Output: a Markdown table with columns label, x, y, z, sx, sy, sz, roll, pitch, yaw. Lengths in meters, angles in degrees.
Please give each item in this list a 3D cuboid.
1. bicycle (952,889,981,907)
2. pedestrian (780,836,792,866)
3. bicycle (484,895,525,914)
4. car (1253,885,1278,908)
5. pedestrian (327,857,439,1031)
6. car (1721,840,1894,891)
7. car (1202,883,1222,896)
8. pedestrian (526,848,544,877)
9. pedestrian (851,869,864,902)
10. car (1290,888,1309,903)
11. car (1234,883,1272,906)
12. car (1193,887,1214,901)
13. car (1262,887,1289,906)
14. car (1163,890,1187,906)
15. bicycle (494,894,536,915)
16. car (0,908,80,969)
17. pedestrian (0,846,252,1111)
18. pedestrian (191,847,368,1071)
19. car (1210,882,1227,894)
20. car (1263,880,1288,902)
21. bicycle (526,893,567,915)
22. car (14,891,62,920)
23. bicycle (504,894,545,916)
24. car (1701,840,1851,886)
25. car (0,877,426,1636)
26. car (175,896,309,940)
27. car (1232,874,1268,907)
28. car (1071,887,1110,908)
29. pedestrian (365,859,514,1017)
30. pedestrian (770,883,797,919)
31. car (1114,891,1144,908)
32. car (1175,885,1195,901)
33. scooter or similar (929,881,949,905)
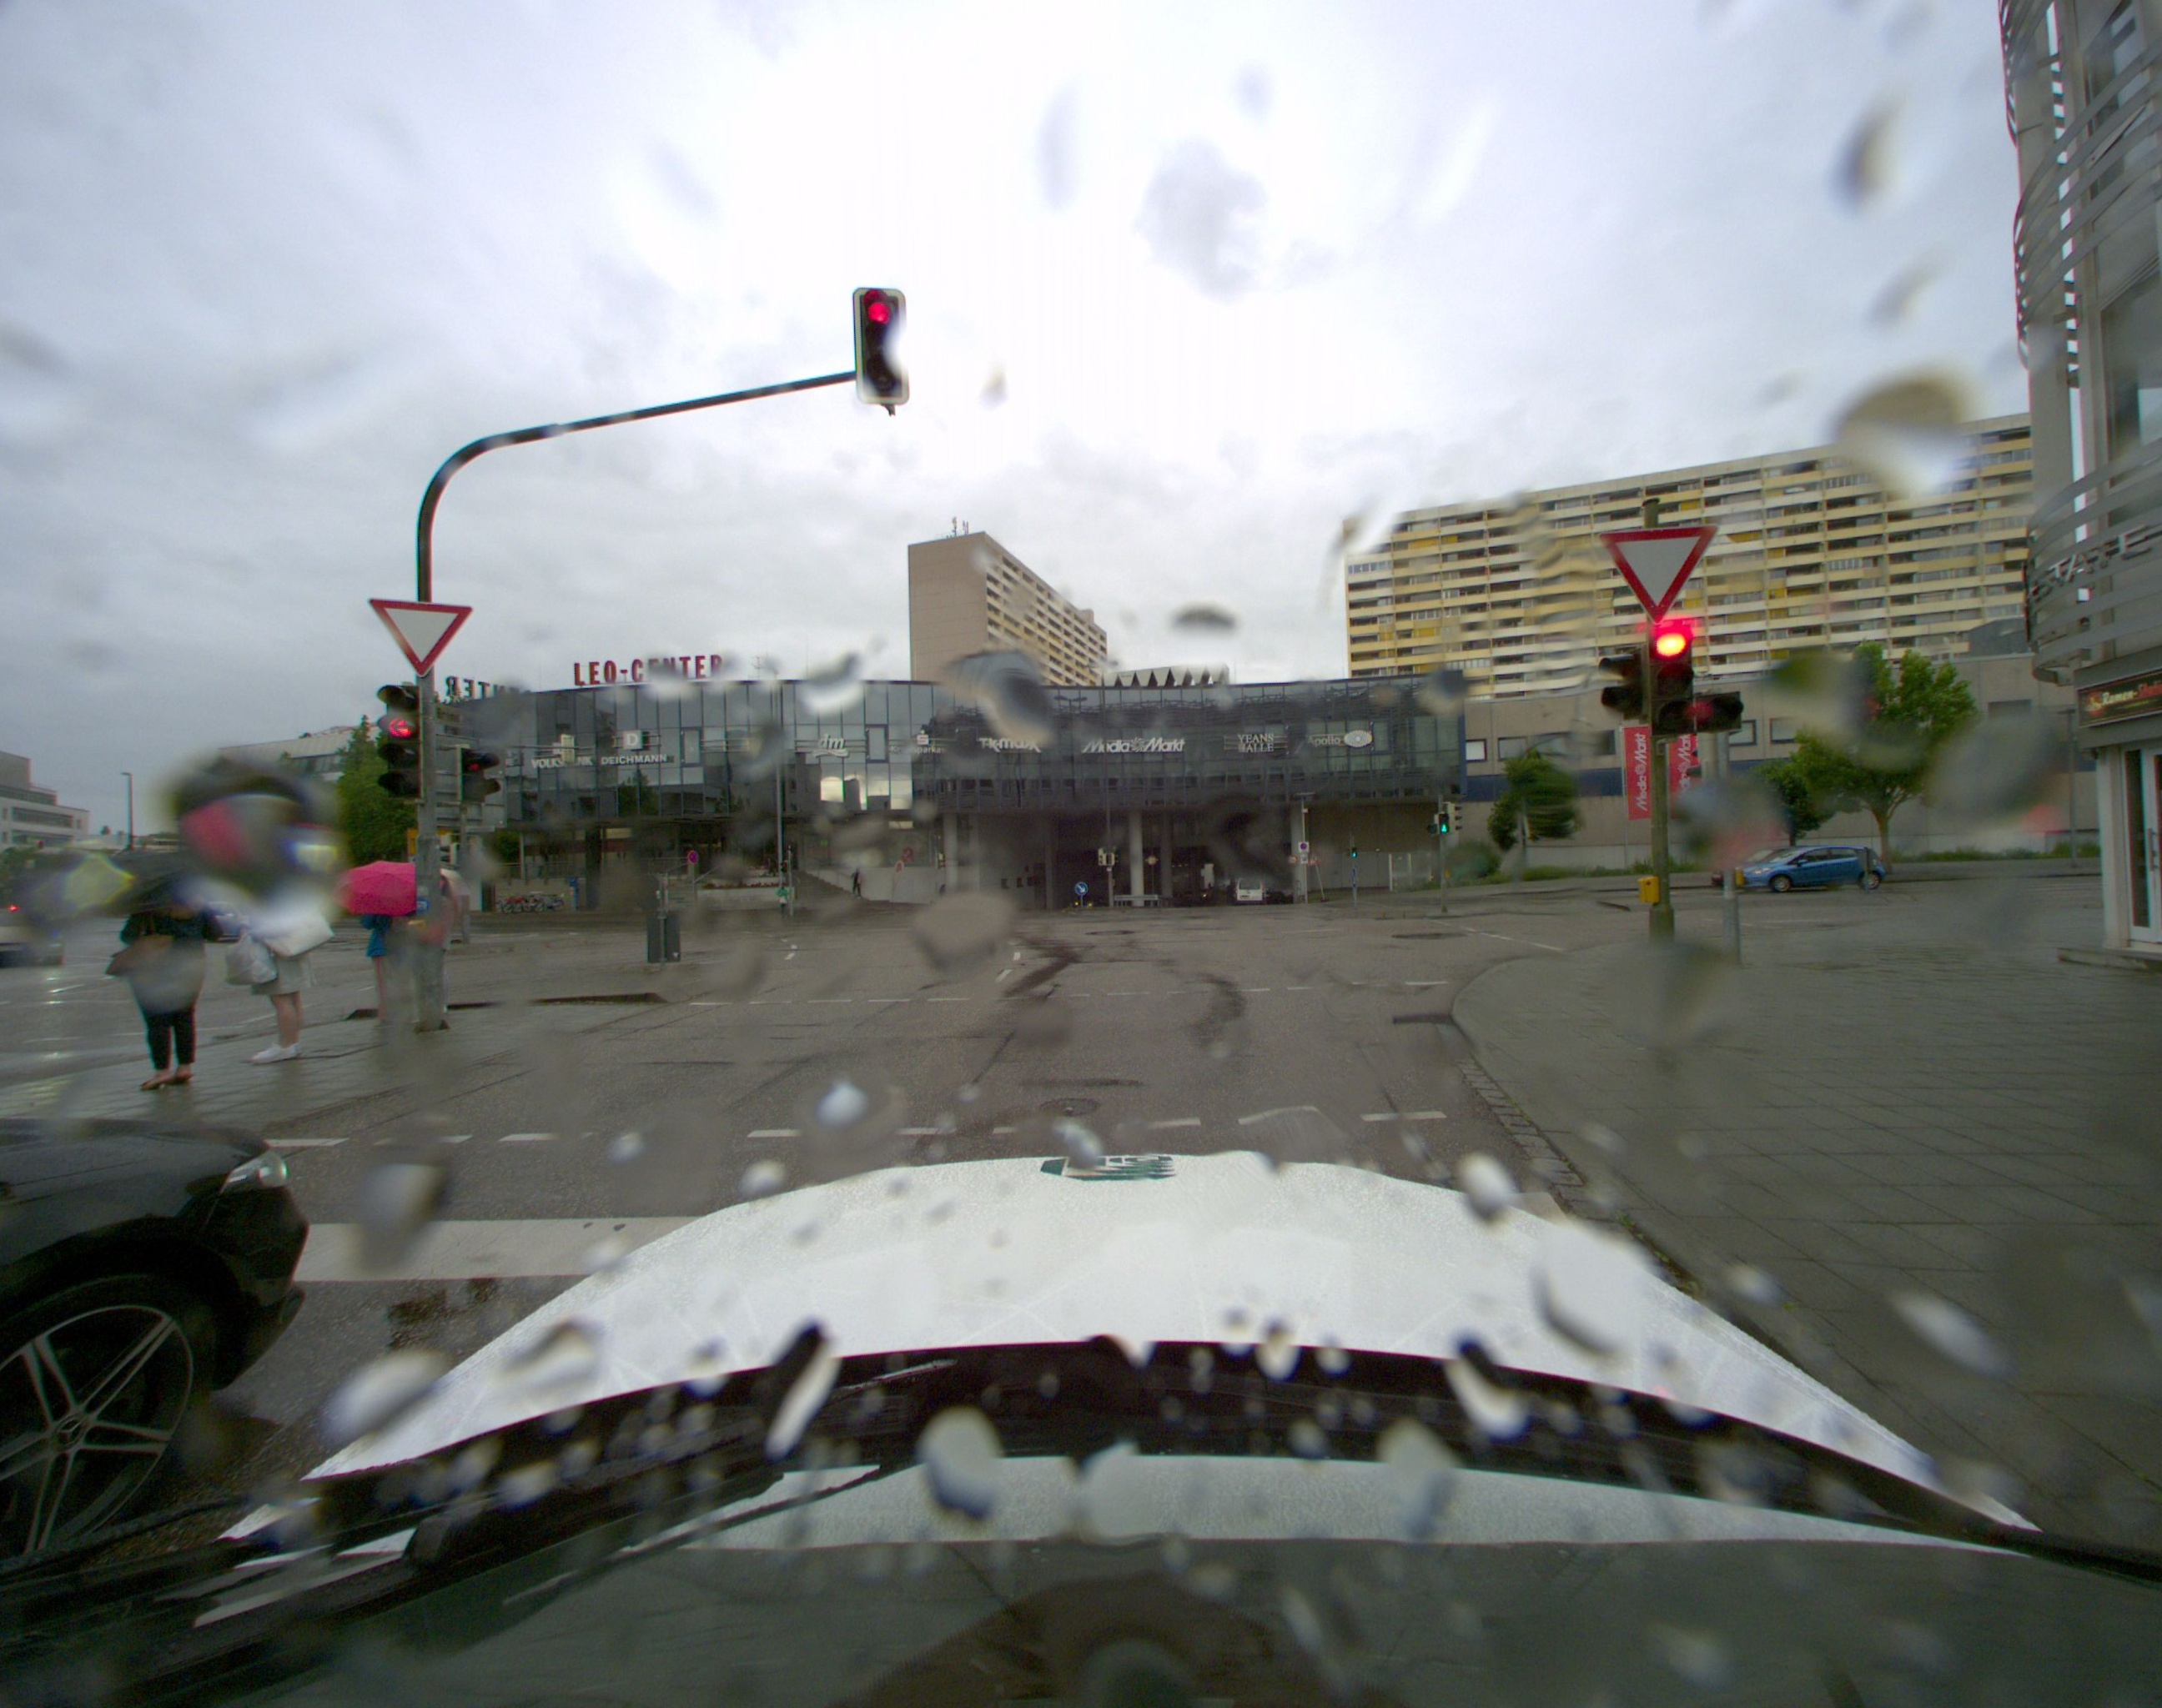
| label | x | y | z | sx | sy | sz | roll | pitch | yaw |
| --- | --- | --- | --- | --- | --- | --- | --- | --- | --- |
| bicycle | -6.878 | 2.649 | 49.005 | 1.591 | 1.018 | 0.448 | 5 | -3 | -29 |
| pedestrian | -17.759 | -0.153 | 49.088 | 0.633 | 1.807 | 0.501 | 0 | -1 | -16 |
| bicycle | -33.076 | 2.888 | 46.770 | 0.529 | 0.951 | 1.865 | -1 | 2 | 23 |
| car | 13.832 | 3.173 | 60.841 | 1.621 | 1.612 | 4.278 | -3 | -4 | 14 |
| pedestrian | -7.259 | 0.894 | 8.474 | 0.665 | 1.685 | 0.811 | -4 | -2 | 45 |
| car | 23.417 | 0.383 | 26.395 | 3.819 | 1.397 | 1.684 | -3 | -2 | 10 |
| car | 17.600 | 4.759 | 109.219 | 1.978 | 1.464 | 4.018 | -3 | -2 | 17 |
| pedestrian | -32.428 | 0.511 | 48.396 | 0.592 | 1.714 | 0.658 | -1 | -1 | 25 |
| pedestrian | -13.030 | 1.807 | 47.507 | 0.655 | 1.908 | 0.593 | -1 | -1 | -6 |
| car | 24.279 | 4.566 | 90.430 | 1.874 | 1.491 | 3.856 | -1 | -1 | 16 |
| car | 11.875 | 2.835 | 56.098 | 1.742 | 1.464 | 3.963 | -3 | -5 | 23 |
| car | 15.257 | 4.972 | 101.627 | 1.978 | 1.664 | 4.018 | -1 | -1 | 17 |
| car | 15.674 | 3.475 | 65.619 | 1.765 | 1.400 | 4.017 | -3 | -4 | 17 |
| car | 10.524 | 4.862 | 91.147 | 1.899 | 1.588 | 3.957 | -3 | -2 | 17 |
| bicycle | -32.389 | 2.887 | 46.633 | 0.621 | 1.033 | 1.865 | -3 | 1 | 20 |
| car | -28.187 | 2.175 | 21.087 | 5.079 | 1.414 | 2.136 | -3 | -2 | 31 |
| pedestrian | -6.963 | 0.837 | 6.012 | 0.956 | 1.736 | 0.829 | -2 | -2 | -28 |
| pedestrian | -6.902 | 0.837 | 7.015 | 1.123 | 1.744 | 0.865 | -3 | -1 | 34 |
| car | 19.313 | 4.771 | 114.264 | 1.979 | 1.464 | 4.016 | -3 | -2 | 15 |
| car | 16.865 | 3.175 | 70.464 | 1.777 | 1.771 | 4.017 | -3 | -2 | 17 |
| bicycle | -30.092 | 2.818 | 45.911 | 0.625 | 1.023 | 1.864 | -3 | 1 | 20 |
| car | -75.104 | 3.665 | 58.648 | 4.085 | 1.896 | 2.062 | -1 | -1 | 38 |
| bicycle | -31.679 | 2.874 | 46.389 | 0.640 | 1.042 | 1.865 | -3 | 1 | 20 |
| car | 24.853 | 0.332 | 29.245 | 3.660 | 1.395 | 1.750 | -3 | -2 | 11 |
| car | -3.000 | 0.833 | 0.623 | 1.657 | 1.481 | 4.094 | 0 | 0 | 0 |
| car | -30.850 | 2.343 | 29.966 | 3.949 | 1.441 | 1.754 | -2 | -1 | 16 |
| car | 10.101 | 2.157 | 48.492 | 1.912 | 1.798 | 4.310 | -2 | -3 | 13 |
| car | 0.758 | 3.376 | 62.610 | 1.877 | 1.470 | 4.044 | -2 | -5 | 18 |
| pedestrian | -7.282 | 0.921 | 9.291 | 0.932 | 1.677 | 0.917 | -2 | -1 | 1 |
| pedestrian | -14.260 | 2.248 | 39.032 | 0.945 | 1.623 | 0.809 | -2 | -1 | 3 |
| car | 4.429 | 4.128 | 74.437 | 1.756 | 1.464 | 3.892 | -3 | -4 | 17 |
| car | 12.262 | 4.522 | 95.917 | 1.823 | 1.728 | 4.014 | -2 | -1 | 13 |
| scooter or similar | -8.473 | 2.333 | 48.546 | 1.167 | 1.373 | 0.487 | 0 | -1 | -13 |
